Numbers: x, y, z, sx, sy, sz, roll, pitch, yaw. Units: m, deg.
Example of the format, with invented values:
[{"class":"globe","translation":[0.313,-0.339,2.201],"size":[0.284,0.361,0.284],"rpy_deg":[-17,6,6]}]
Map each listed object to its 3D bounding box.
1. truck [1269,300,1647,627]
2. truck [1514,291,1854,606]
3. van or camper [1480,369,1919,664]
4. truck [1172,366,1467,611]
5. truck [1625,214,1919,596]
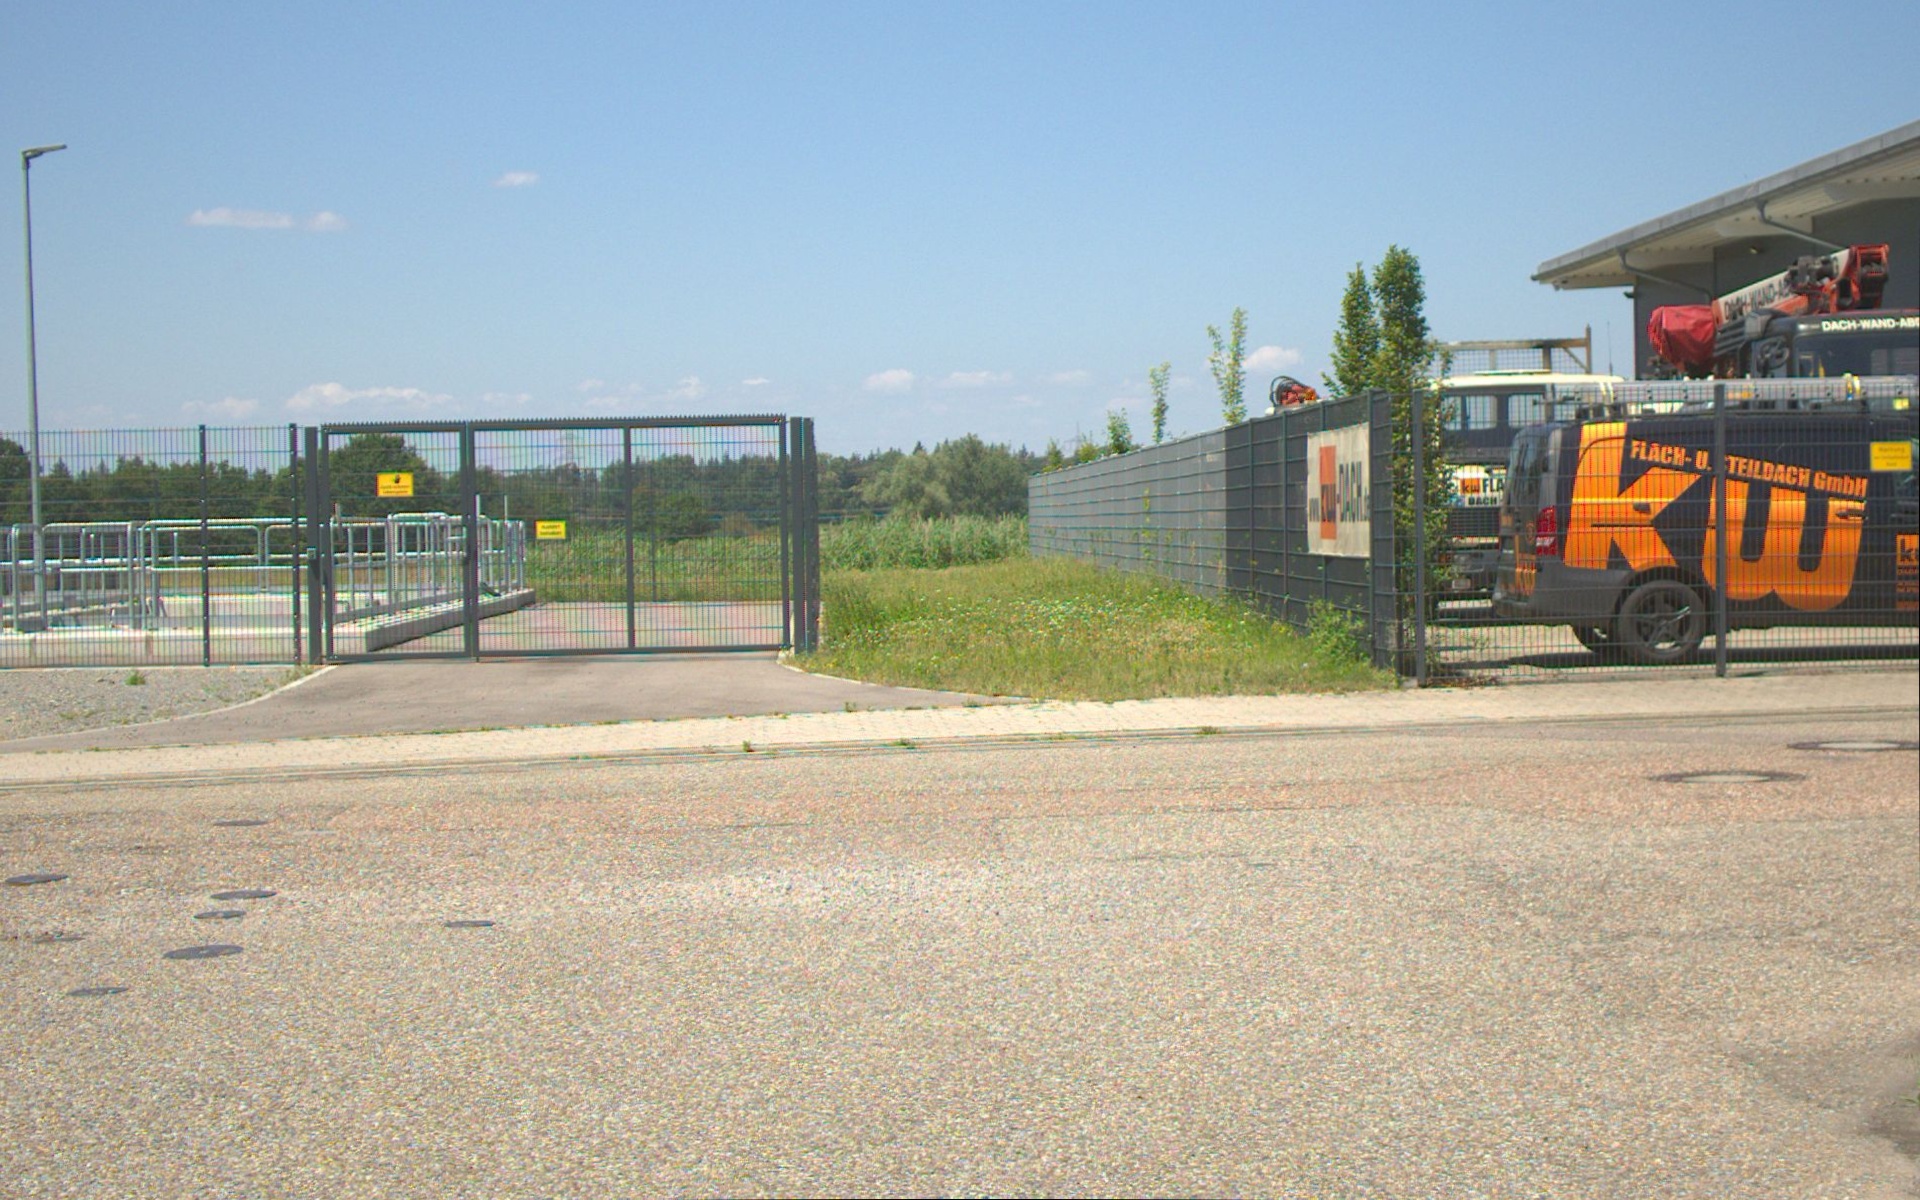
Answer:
[{"class":"truck","translation":[5.051,-1.381,36.143],"size":[2.726,3.051,6.937],"rpy_deg":[-1,1,-2]},{"class":"truck","translation":[9.704,-2.002,46.867],"size":[2.921,3.915,6.937],"rpy_deg":[-1,1,-2]},{"class":"van or camper","translation":[6.725,-0.694,26.931],"size":[4.936,2.156,2.000],"rpy_deg":[-1,2,-1]},{"class":"truck","translation":[4.594,-1.443,45.376],"size":[2.921,2.927,6.937],"rpy_deg":[-1,1,-2]},{"class":"truck","translation":[9.807,-2.118,39.050],"size":[2.921,3.915,6.937],"rpy_deg":[-1,1,-2]}]
